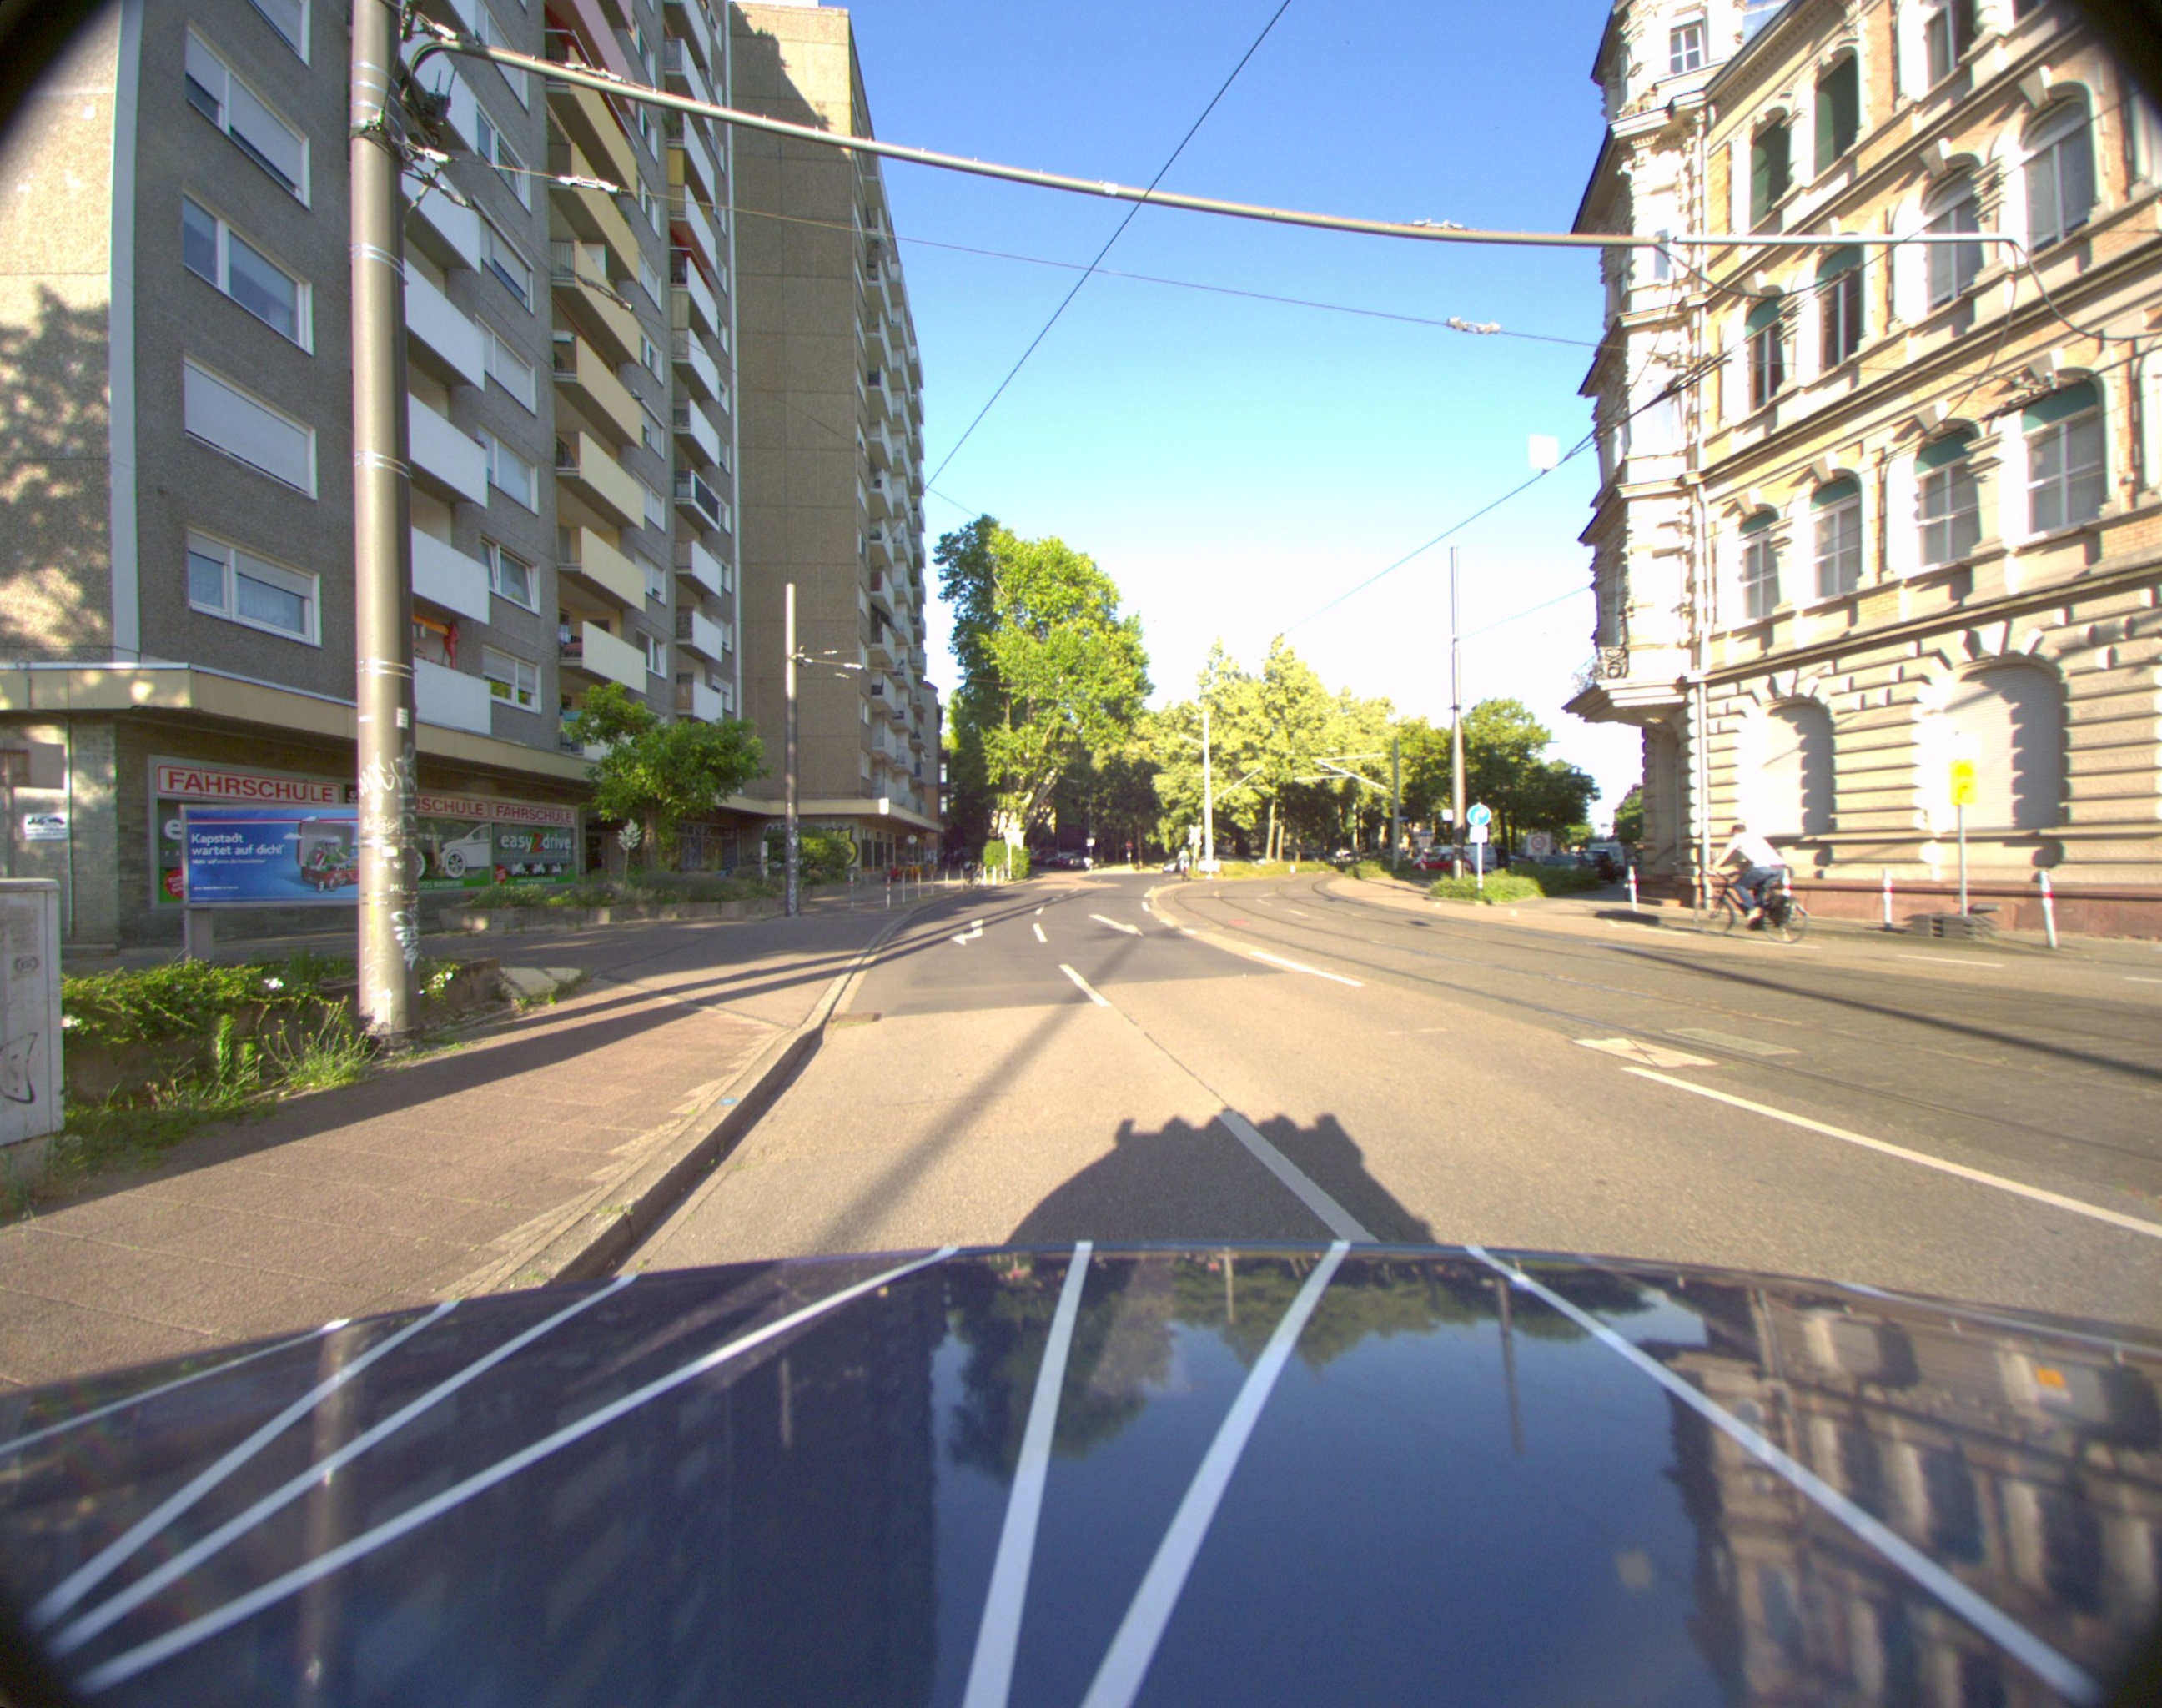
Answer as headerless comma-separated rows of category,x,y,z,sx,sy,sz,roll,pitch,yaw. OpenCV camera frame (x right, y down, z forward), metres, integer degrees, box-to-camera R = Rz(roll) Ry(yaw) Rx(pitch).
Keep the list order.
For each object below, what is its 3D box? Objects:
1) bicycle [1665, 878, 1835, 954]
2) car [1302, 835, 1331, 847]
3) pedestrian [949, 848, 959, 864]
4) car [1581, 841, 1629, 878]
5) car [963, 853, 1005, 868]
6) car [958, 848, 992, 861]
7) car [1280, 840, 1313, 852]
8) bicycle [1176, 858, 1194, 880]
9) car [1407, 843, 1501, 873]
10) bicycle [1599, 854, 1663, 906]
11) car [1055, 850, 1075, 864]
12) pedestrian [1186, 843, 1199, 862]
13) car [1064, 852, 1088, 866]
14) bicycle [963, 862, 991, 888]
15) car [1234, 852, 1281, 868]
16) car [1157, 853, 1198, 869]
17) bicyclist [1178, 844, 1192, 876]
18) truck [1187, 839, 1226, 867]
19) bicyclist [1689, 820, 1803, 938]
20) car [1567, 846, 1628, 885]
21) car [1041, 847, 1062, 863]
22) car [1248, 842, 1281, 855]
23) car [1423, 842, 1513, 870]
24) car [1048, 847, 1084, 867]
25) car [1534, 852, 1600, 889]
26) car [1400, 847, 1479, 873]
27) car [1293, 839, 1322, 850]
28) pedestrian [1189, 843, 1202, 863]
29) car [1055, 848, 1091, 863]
bicycle,10.818,0.958,12.413,0.728,1.077,2.115,-1,0,-8
car,36.366,-2.043,117.489,1.889,1.739,3.989,-1,0,-37
pedestrian,-15.828,0.212,94.625,1.214,2.002,1.205,-1,0,-13
car,30.071,0.256,43.539,1.994,2.002,4.645,0,0,38
car,-9.885,0.630,77.183,4.002,1.499,1.884,-1,0,-14
car,-13.152,0.038,93.884,4.002,1.499,1.884,-1,0,-14
car,32.137,-1.178,113.328,2.004,1.696,4.346,-1,0,-35
bicycle,5.782,0.828,42.295,0.611,1.168,1.951,-1,0,-3
car,23.671,0.233,48.364,2.004,1.777,5.046,-1,0,-35
bicycle,14.398,0.633,19.855,2.693,1.259,0.643,-1,1,-38
car,-1.766,0.342,82.912,1.535,1.440,3.922,-1,0,-12
pedestrian,10.308,-0.105,70.461,0.890,1.758,0.828,-1,1,-25
car,-0.557,0.482,77.321,1.741,1.440,3.627,-1,0,-12
bicycle,-4.884,0.968,35.864,0.609,1.128,2.282,-1,0,10
car,15.539,0.489,67.027,1.744,1.346,3.678,-1,0,-40
car,9.244,0.640,72.708,1.945,1.390,4.008,0,0,42
bicyclist,5.772,0.349,42.131,0.607,1.752,1.060,-1,1,-3
truck,12.771,-0.118,76.963,1.994,2.767,4.894,0,1,35
bicyclist,10.810,0.388,12.397,0.730,1.829,1.212,-1,0,-8
car,23.694,0.494,34.807,1.733,1.652,4.008,0,1,43
car,-3.762,0.121,96.535,1.772,1.846,4.223,-1,0,-14
car,25.481,-0.769,105.811,2.003,1.739,4.433,-1,0,-29
car,25.818,0.134,50.880,2.004,1.798,5.046,-1,0,-35
car,-1.765,0.338,90.215,3.929,2.392,1.533,-1,1,-15
car,20.196,0.661,31.540,1.733,1.406,3.441,0,0,43
car,22.032,0.348,46.823,1.872,1.499,3.989,-1,0,-35
car,34.262,-1.430,114.998,1.889,1.739,3.989,-1,0,-37
pedestrian,10.488,-0.092,69.536,0.890,1.758,0.828,-1,1,-25
car,-0.944,0.165,87.952,3.929,1.751,1.533,-1,1,-15
